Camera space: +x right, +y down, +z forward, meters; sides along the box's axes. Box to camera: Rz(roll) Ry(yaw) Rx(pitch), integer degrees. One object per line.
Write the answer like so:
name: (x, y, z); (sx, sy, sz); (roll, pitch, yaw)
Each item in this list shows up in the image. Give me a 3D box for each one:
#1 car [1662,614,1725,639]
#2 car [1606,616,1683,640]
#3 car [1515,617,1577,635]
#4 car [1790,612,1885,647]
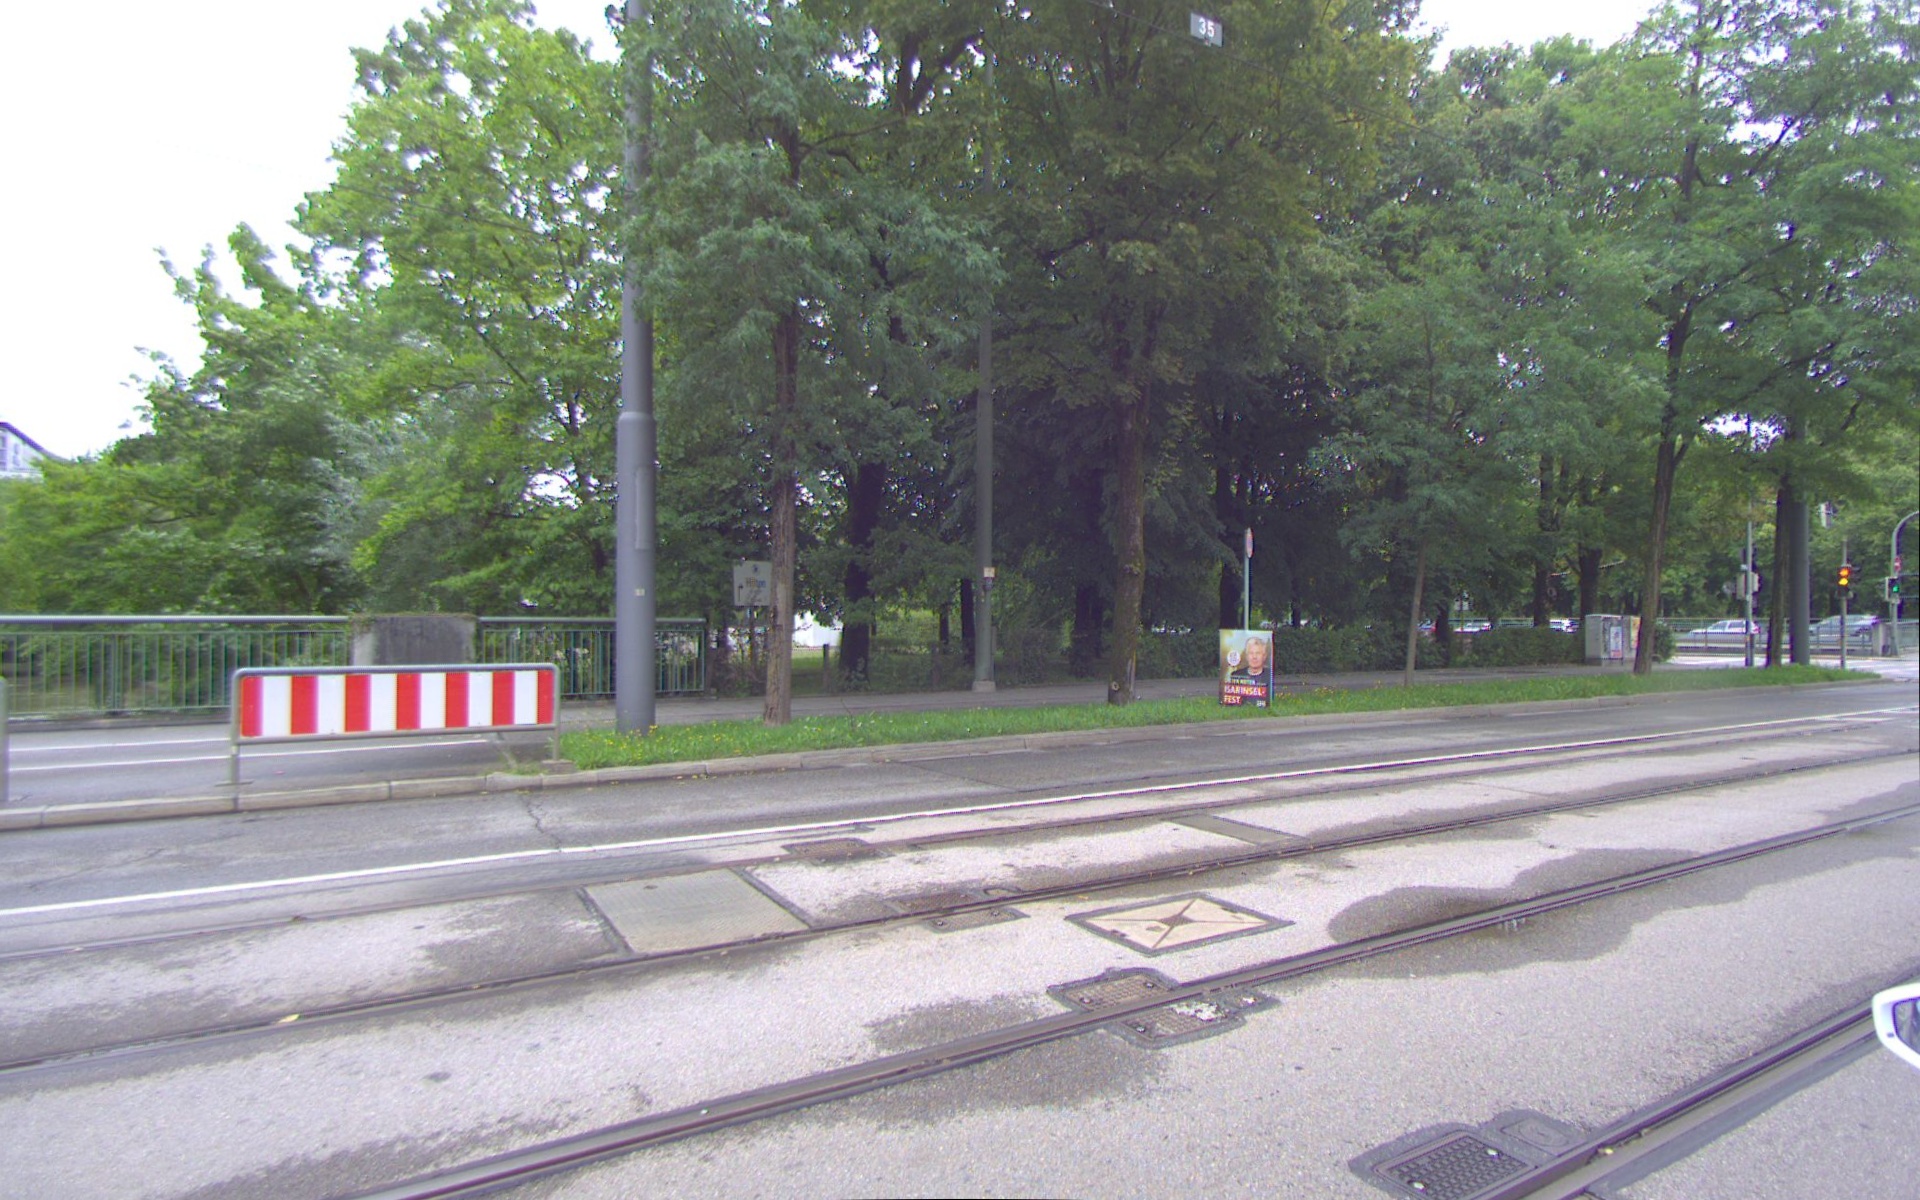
car: (47.502, 1.717, 65.082); (1.238, 1.471, 3.090); (1, 1, -34)
car: (46.006, 1.852, 67.587); (1.703, 1.423, 3.900); (1, 0, -34)
car: (42.567, 1.874, 72.988); (1.237, 1.201, 3.705); (1, 0, -33)
car: (51.670, 1.718, 59.215); (1.476, 1.912, 3.994); (1, 1, -36)
